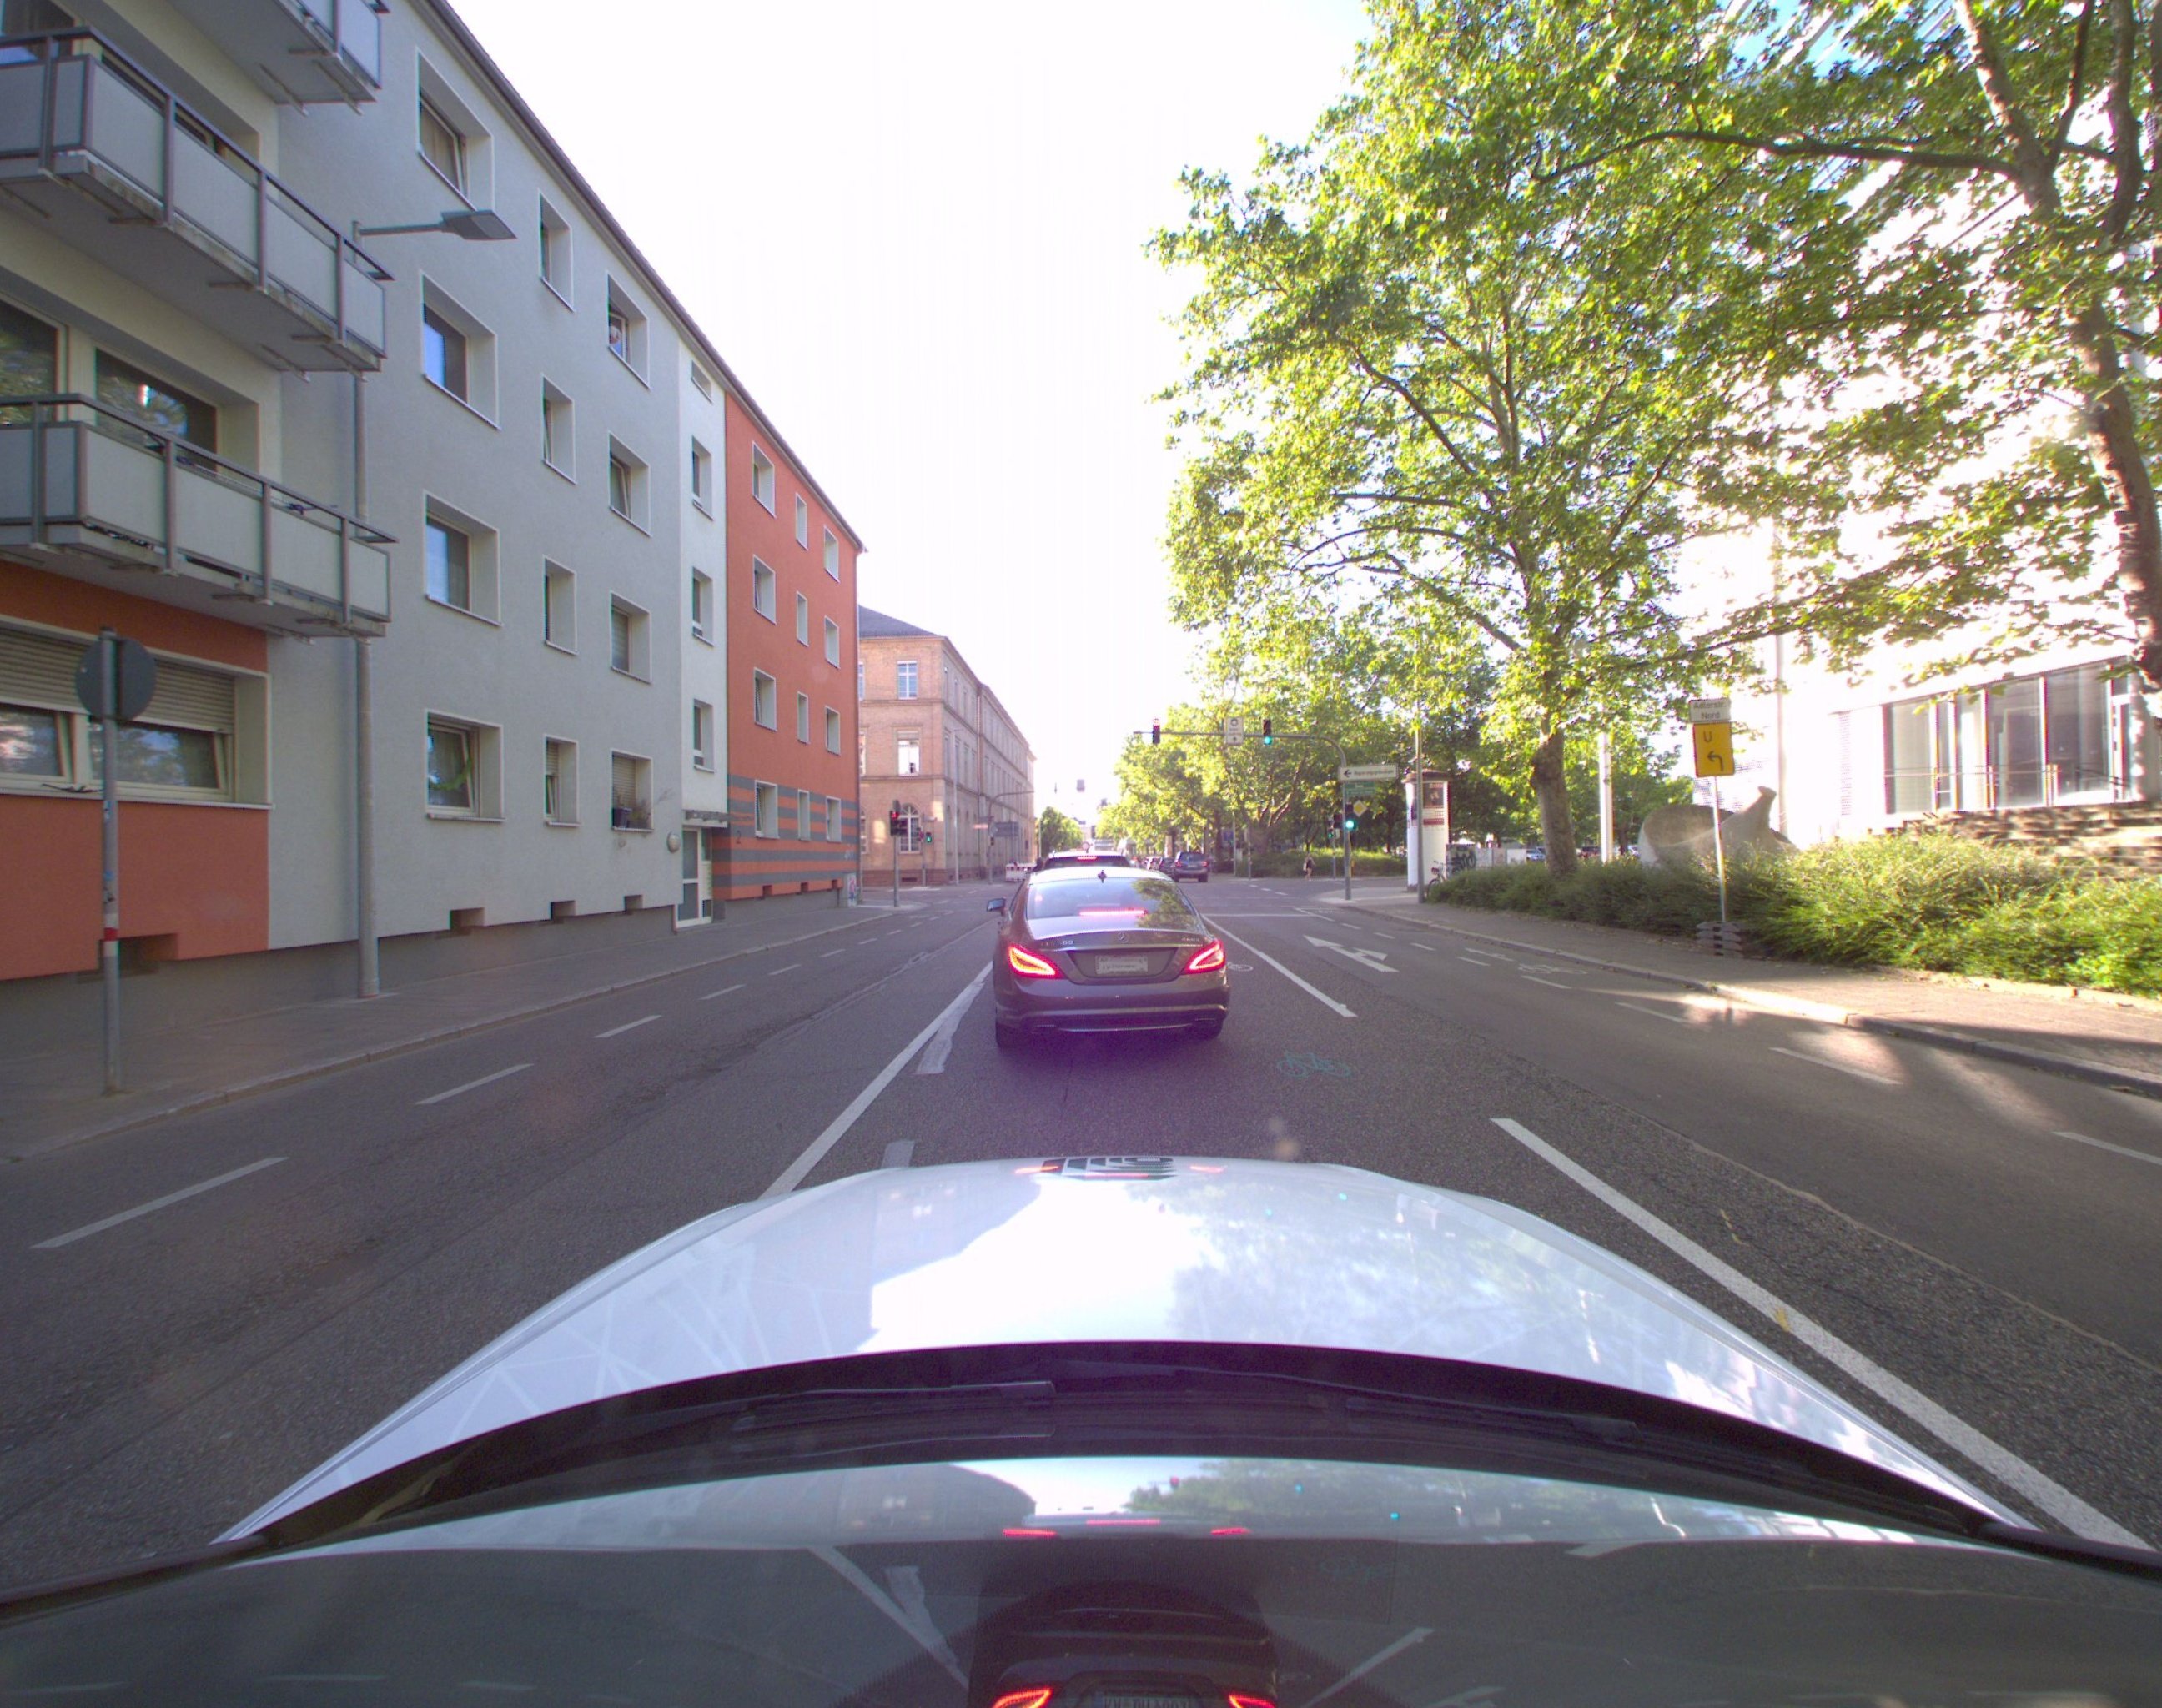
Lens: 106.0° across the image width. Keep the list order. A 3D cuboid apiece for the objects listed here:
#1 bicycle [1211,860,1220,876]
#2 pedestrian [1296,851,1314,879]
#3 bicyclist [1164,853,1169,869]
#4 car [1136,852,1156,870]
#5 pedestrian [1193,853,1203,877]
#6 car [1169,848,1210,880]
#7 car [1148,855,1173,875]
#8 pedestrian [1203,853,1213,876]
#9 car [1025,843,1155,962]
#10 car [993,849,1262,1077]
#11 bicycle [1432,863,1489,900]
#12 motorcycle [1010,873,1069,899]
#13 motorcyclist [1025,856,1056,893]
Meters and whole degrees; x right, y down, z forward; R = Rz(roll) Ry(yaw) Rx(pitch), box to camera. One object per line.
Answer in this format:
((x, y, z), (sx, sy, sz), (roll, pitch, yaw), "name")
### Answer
((10.407, 1.046, 63.003), (0.480, 1.202, 1.607), (0, -1, 2), "bicycle")
((12.665, 0.612, 46.097), (0.636, 1.545, 0.906), (0, -1, -12), "pedestrian")
((11.010, 0.858, 105.077), (0.593, 2.039, 0.566), (0, -1, -3), "bicyclist")
((6.265, 0.689, 78.419), (1.725, 1.662, 3.682), (0, -1, 2), "car")
((9.094, 0.847, 63.101), (0.634, 1.797, 0.698), (0, -1, -2), "pedestrian")
((6.129, 0.543, 46.469), (1.854, 1.764, 4.483), (-1, 0, 2), "car")
((6.249, 0.849, 64.531), (1.698, 1.519, 4.002), (-1, 0, 2), "car")
((9.838, 0.822, 63.152), (0.634, 1.760, 0.698), (0, -1, -2), "pedestrian")
((0.198, 0.700, 13.729), (1.854, 1.682, 4.002), (-1, 0, 2), "car")
((0.150, 0.741, 7.594), (1.859, 1.519, 3.992), (-1, 0, -6), "car")
((10.990, 0.782, 23.569), (1.895, 1.028, 0.635), (0, -1, -36), "bicycle")
((-1.491, 1.135, 29.245), (2.033, 0.892, 0.760), (-1, -1, 31), "motorcycle")
((-1.453, 0.735, 29.227), (0.792, 1.294, 0.794), (-1, -1, 30), "motorcyclist")
